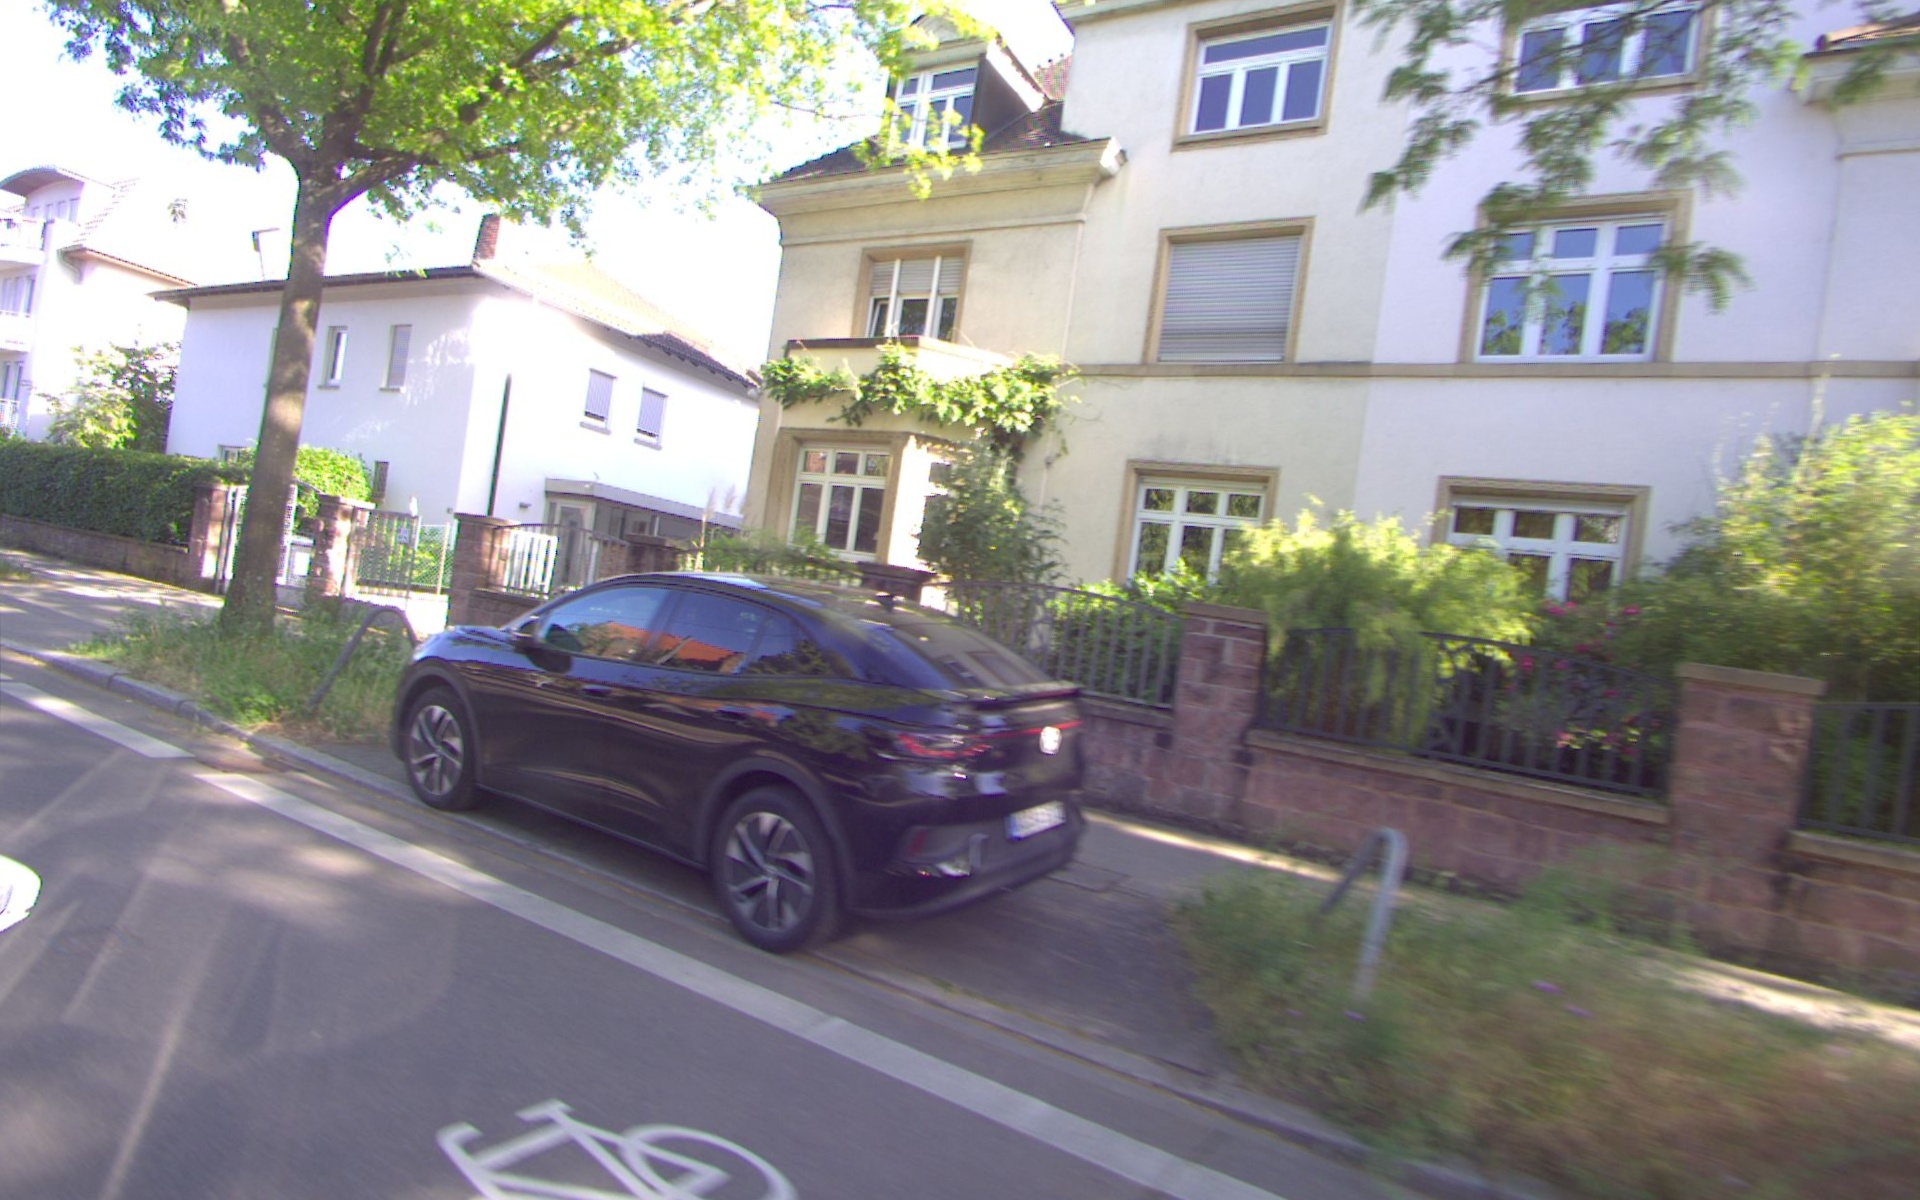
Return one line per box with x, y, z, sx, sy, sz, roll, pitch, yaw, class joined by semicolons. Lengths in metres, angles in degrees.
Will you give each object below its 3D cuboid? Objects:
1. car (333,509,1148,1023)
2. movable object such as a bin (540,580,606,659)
-1.503;0.572;5.909;4.651;1.717;1.804;8;3;32;car
-5.800;0.294;15.063;0.652;1.060;0.641;8;0;-37;movable object such as a bin
